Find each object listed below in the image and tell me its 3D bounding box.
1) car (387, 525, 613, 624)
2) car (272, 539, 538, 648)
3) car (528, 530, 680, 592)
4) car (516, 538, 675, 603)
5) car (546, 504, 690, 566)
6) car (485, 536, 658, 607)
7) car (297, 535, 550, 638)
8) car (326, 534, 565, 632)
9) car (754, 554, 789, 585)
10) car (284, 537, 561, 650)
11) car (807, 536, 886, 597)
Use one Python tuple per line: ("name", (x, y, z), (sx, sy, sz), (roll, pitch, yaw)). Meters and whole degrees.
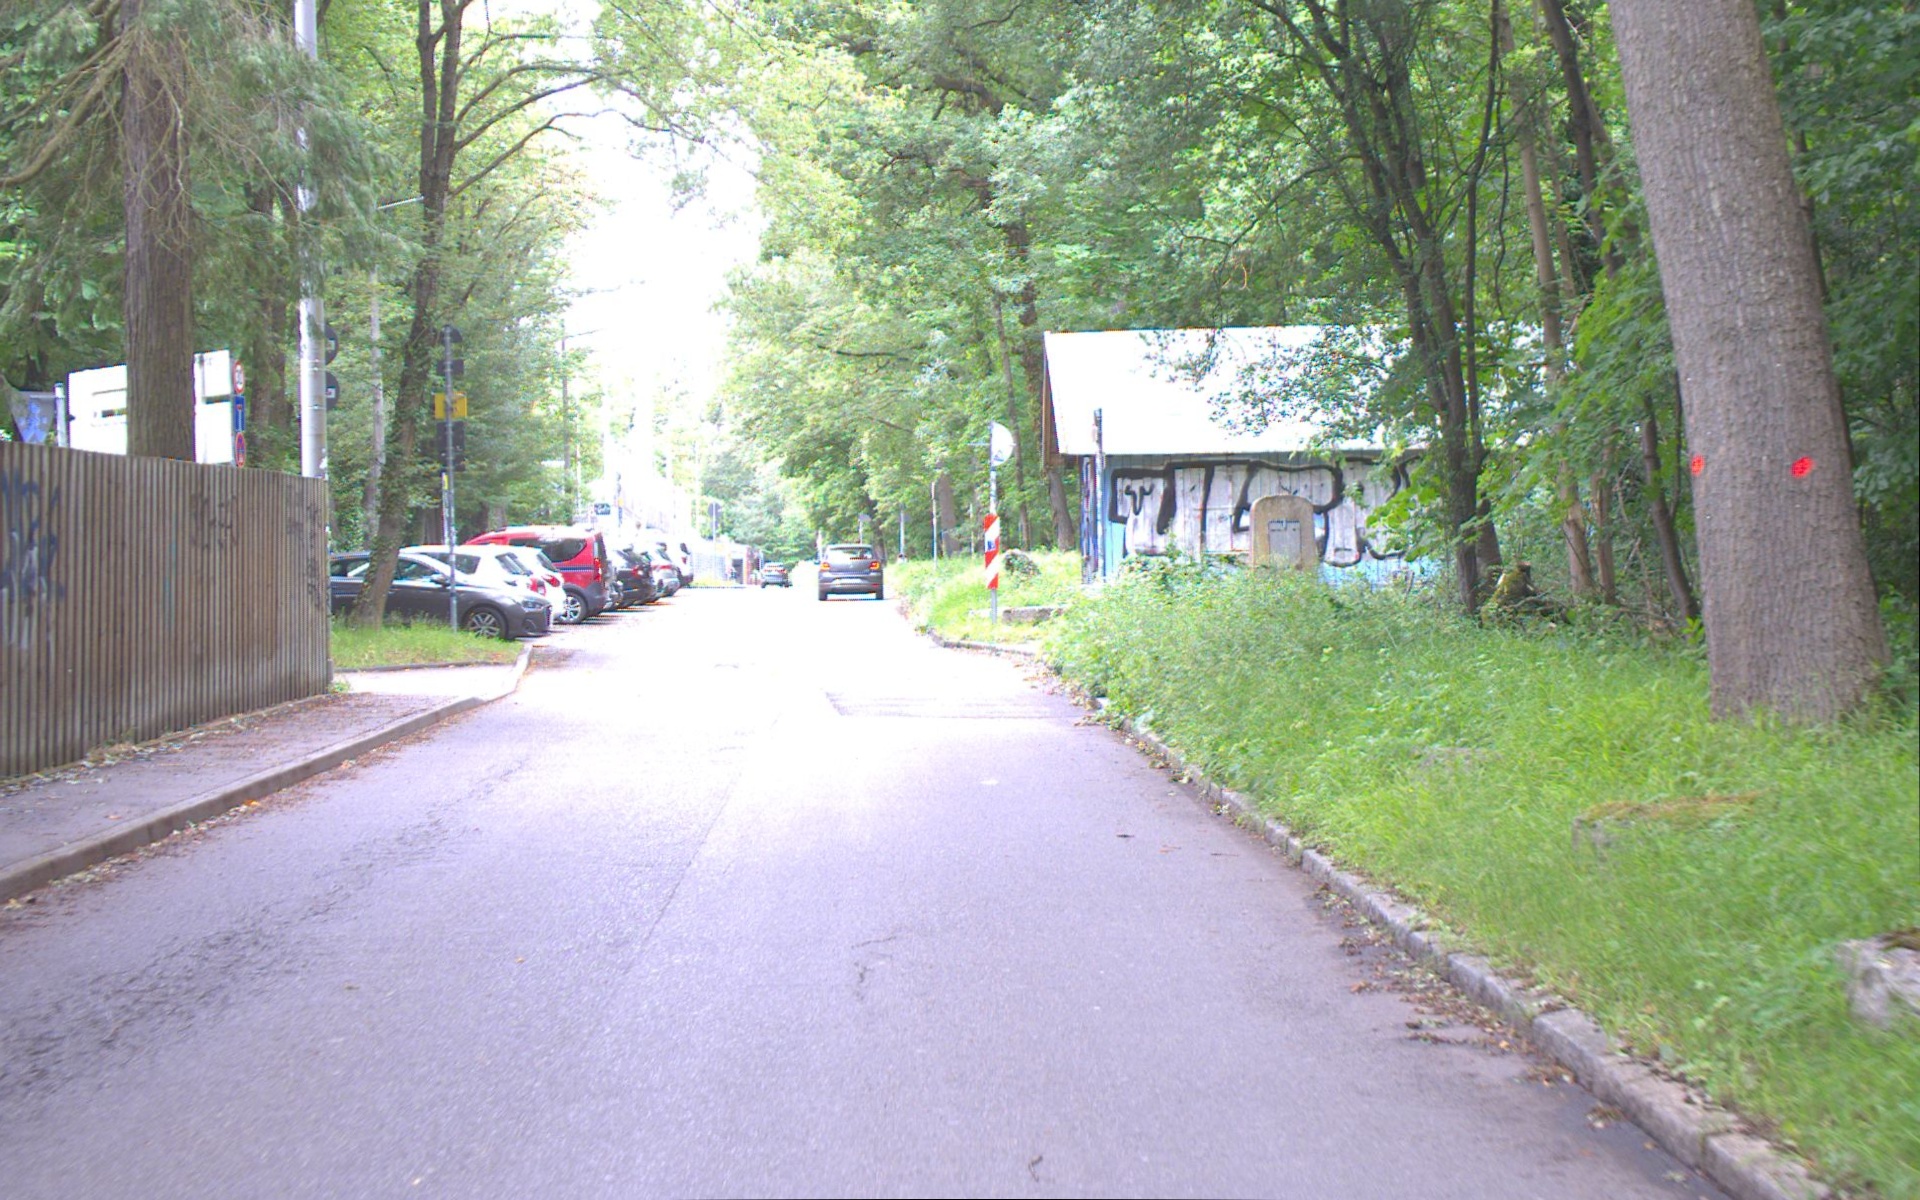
("car", (-8.719, -0.500, 65.412), (3.987, 1.744, 2.000), (-2, 1, 0))
("car", (-8.761, -0.120, 54.566), (3.986, 1.568, 2.000), (-2, 1, -5))
("car", (-8.722, -0.962, 84.427), (3.572, 1.402, 1.650), (-2, 1, -1))
("car", (-8.600, -0.699, 81.263), (3.572, 1.402, 1.650), (-2, 1, -1))
("car", (-9.927, -1.876, 99.952), (3.987, 1.590, 1.765), (-3, 0, -2))
("car", (-8.425, -0.620, 74.715), (3.572, 1.402, 1.650), (-2, 1, -1))
("car", (-8.871, -0.247, 57.099), (3.986, 1.568, 2.000), (-2, 1, -5))
("car", (-8.959, -0.310, 60.188), (3.986, 1.568, 2.000), (-2, 1, -5))
("car", (-12.712, -2.073, 231.922), (1.993, 2.007, 4.001), (-2, 1, -7))
("car", (-8.117, -0.120, 52.249), (3.986, 1.568, 2.000), (-2, 1, -5))
("car", (-2.904, -0.868, 88.443), (1.908, 1.503, 4.000), (1, 1, -1))
